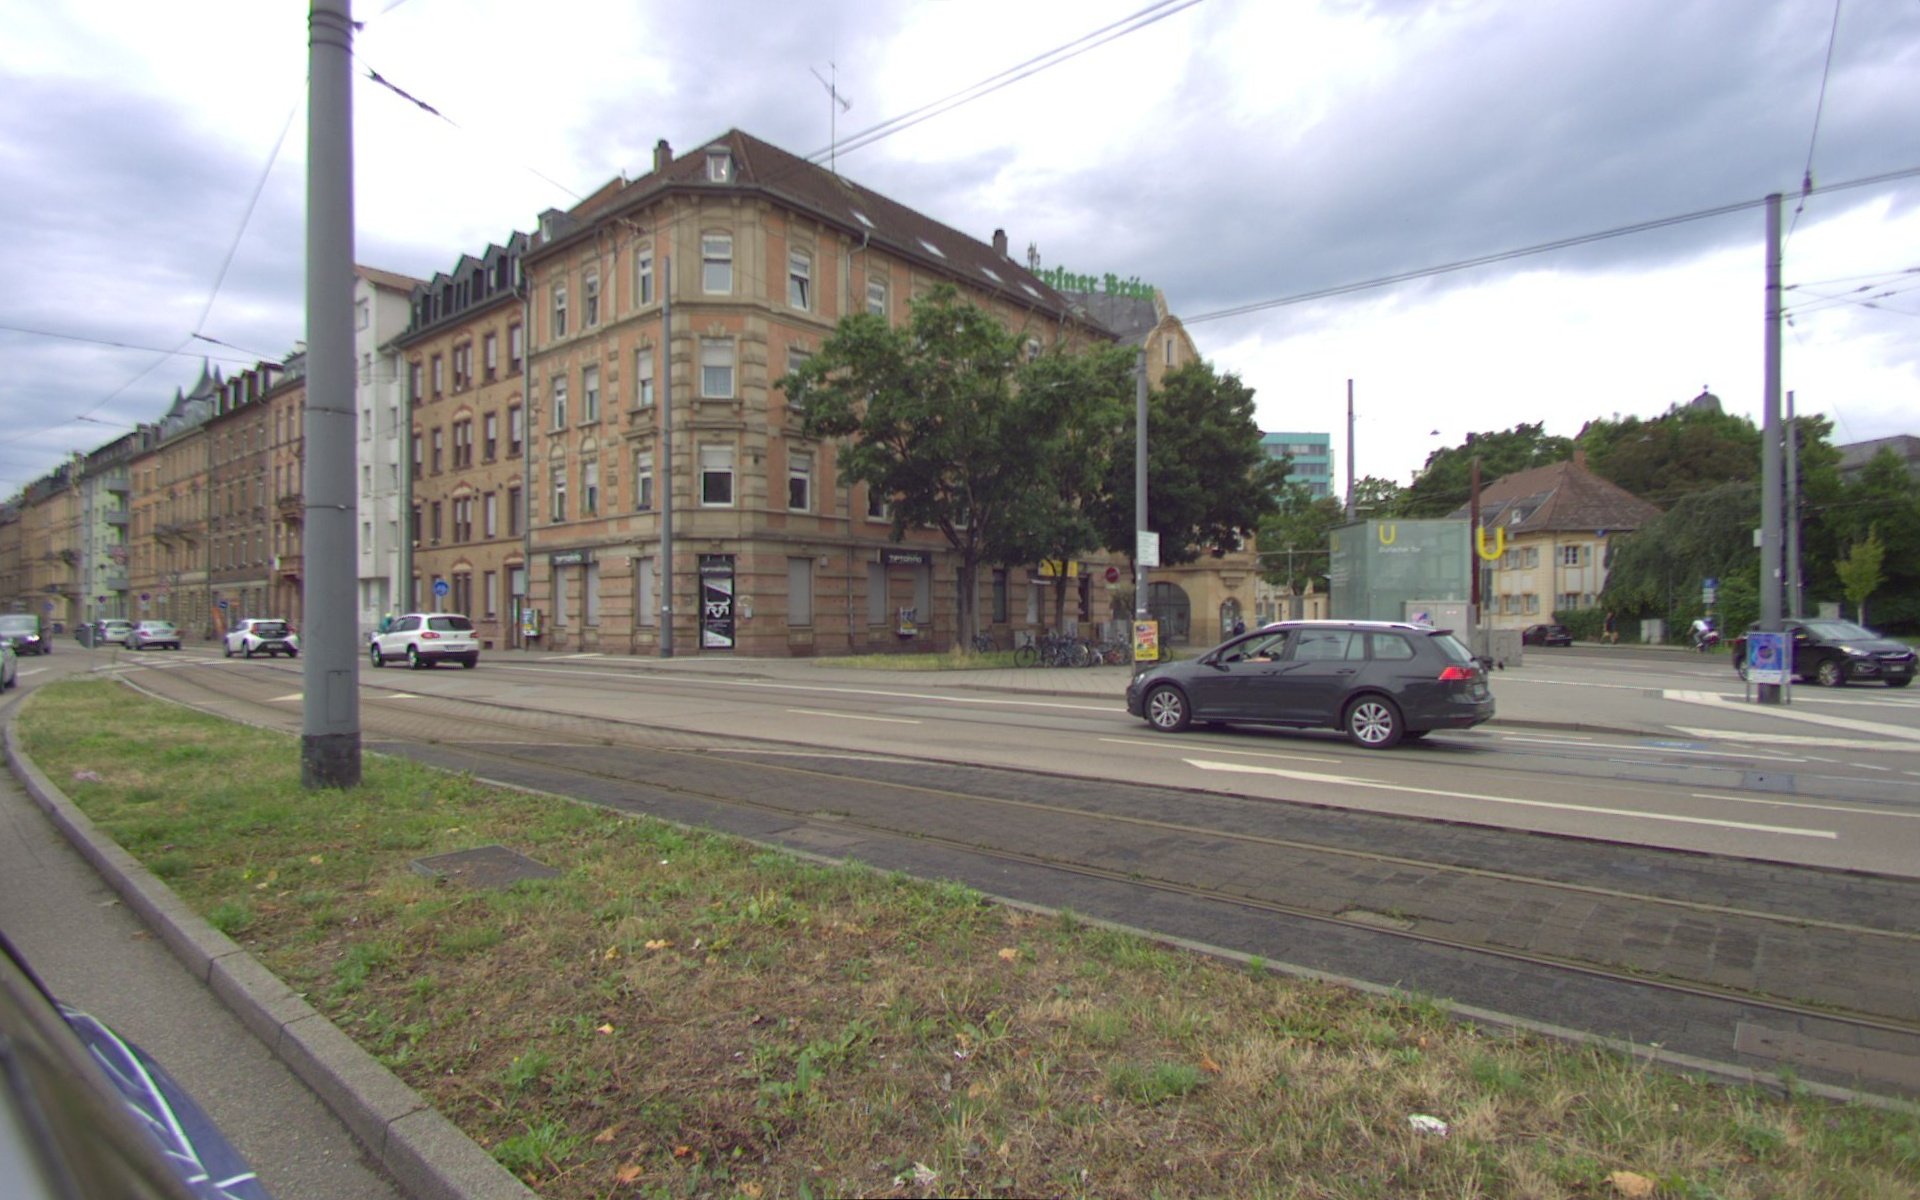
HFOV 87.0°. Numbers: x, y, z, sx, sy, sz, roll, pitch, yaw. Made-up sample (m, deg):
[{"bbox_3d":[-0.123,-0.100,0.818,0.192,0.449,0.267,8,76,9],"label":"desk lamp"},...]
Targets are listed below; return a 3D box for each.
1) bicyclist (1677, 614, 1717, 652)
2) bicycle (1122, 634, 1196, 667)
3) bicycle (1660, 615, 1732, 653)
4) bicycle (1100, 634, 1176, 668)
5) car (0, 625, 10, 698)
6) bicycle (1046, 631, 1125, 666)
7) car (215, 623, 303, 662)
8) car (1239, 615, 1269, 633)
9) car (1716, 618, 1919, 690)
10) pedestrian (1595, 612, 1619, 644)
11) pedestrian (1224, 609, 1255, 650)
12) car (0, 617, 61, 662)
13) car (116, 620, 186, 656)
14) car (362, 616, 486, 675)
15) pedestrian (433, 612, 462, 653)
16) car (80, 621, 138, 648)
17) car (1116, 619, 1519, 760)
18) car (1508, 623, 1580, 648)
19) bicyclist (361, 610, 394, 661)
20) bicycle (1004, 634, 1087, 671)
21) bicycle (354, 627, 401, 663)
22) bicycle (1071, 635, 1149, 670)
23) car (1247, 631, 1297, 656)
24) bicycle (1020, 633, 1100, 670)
[{"bbox_3d":[34.942,1.563,48.009,1.077,1.796,1.017,0,-1,-2],"label":"bicyclist"},{"bbox_3d":[6.681,1.675,34.033,2.395,1.038,0.744,-1,-2,41],"label":"bicycle"},{"bbox_3d":[34.962,1.602,48.157,1.070,1.763,3.087,0,-1,-2],"label":"bicycle"},{"bbox_3d":[5.760,1.649,32.916,2.395,1.038,0.744,-1,-2,41],"label":"bicycle"},{"bbox_3d":[-21.404,1.274,21.335,1.944,1.467,4.196,1,-2,-44],"label":"car"},{"bbox_3d":[3.836,1.472,31.091,2.395,1.038,0.744,-1,-2,41],"label":"bicycle"},{"bbox_3d":[-27.310,1.633,39.409,4.013,1.442,1.792,-1,-1,39],"label":"car"},{"bbox_3d":[31.795,2.569,109.609,1.971,1.863,4.001,0,-1,-2],"label":"car"},{"bbox_3d":[21.598,1.266,25.260,1.969,1.623,4.250,0,-1,-6],"label":"car"},{"bbox_3d":[38.176,1.661,59.723,0.797,1.846,0.851,0,-1,-8],"label":"pedestrian"},{"bbox_3d":[13.312,1.405,48.223,1.083,1.911,1.139,-1,-2,34],"label":"pedestrian"},{"bbox_3d":[-39.528,1.625,42.431,5.131,1.768,2.340,-2,-2,44],"label":"car"},{"bbox_3d":[-40.147,1.857,50.199,4.229,1.716,1.873,-1,-1,39],"label":"car"},{"bbox_3d":[-16.199,1.326,30.510,4.226,1.658,1.812,-1,-1,39],"label":"car"},{"bbox_3d":[-21.615,1.355,42.679,0.797,1.688,0.802,-1,-2,37],"label":"pedestrian"},{"bbox_3d":[-50.032,1.989,59.479,4.570,1.521,1.796,-1,-1,39],"label":"car"},{"bbox_3d":[4.396,0.991,12.846,4.459,1.481,1.865,-1,-1,39],"label":"car"},{"bbox_3d":[35.717,2.148,61.971,1.971,1.442,4.001,0,-1,-2],"label":"car"},{"bbox_3d":[-22.127,1.335,38.429,0.923,1.881,0.813,-1,-2,41],"label":"bicyclist"},{"bbox_3d":[2.481,1.516,29.699,2.395,1.038,0.826,-1,-2,41],"label":"bicycle"},{"bbox_3d":[-22.108,1.690,38.393,2.410,1.302,0.788,-1,-2,41],"label":"bicycle"},{"bbox_3d":[4.697,1.629,31.853,2.395,1.038,0.744,-1,-2,41],"label":"bicycle"},{"bbox_3d":[23.375,3.217,75.993,2.133,1.727,4.923,2,-2,0],"label":"car"},{"bbox_3d":[2.977,1.531,30.306,2.395,1.038,0.744,-1,-2,41],"label":"bicycle"}]
